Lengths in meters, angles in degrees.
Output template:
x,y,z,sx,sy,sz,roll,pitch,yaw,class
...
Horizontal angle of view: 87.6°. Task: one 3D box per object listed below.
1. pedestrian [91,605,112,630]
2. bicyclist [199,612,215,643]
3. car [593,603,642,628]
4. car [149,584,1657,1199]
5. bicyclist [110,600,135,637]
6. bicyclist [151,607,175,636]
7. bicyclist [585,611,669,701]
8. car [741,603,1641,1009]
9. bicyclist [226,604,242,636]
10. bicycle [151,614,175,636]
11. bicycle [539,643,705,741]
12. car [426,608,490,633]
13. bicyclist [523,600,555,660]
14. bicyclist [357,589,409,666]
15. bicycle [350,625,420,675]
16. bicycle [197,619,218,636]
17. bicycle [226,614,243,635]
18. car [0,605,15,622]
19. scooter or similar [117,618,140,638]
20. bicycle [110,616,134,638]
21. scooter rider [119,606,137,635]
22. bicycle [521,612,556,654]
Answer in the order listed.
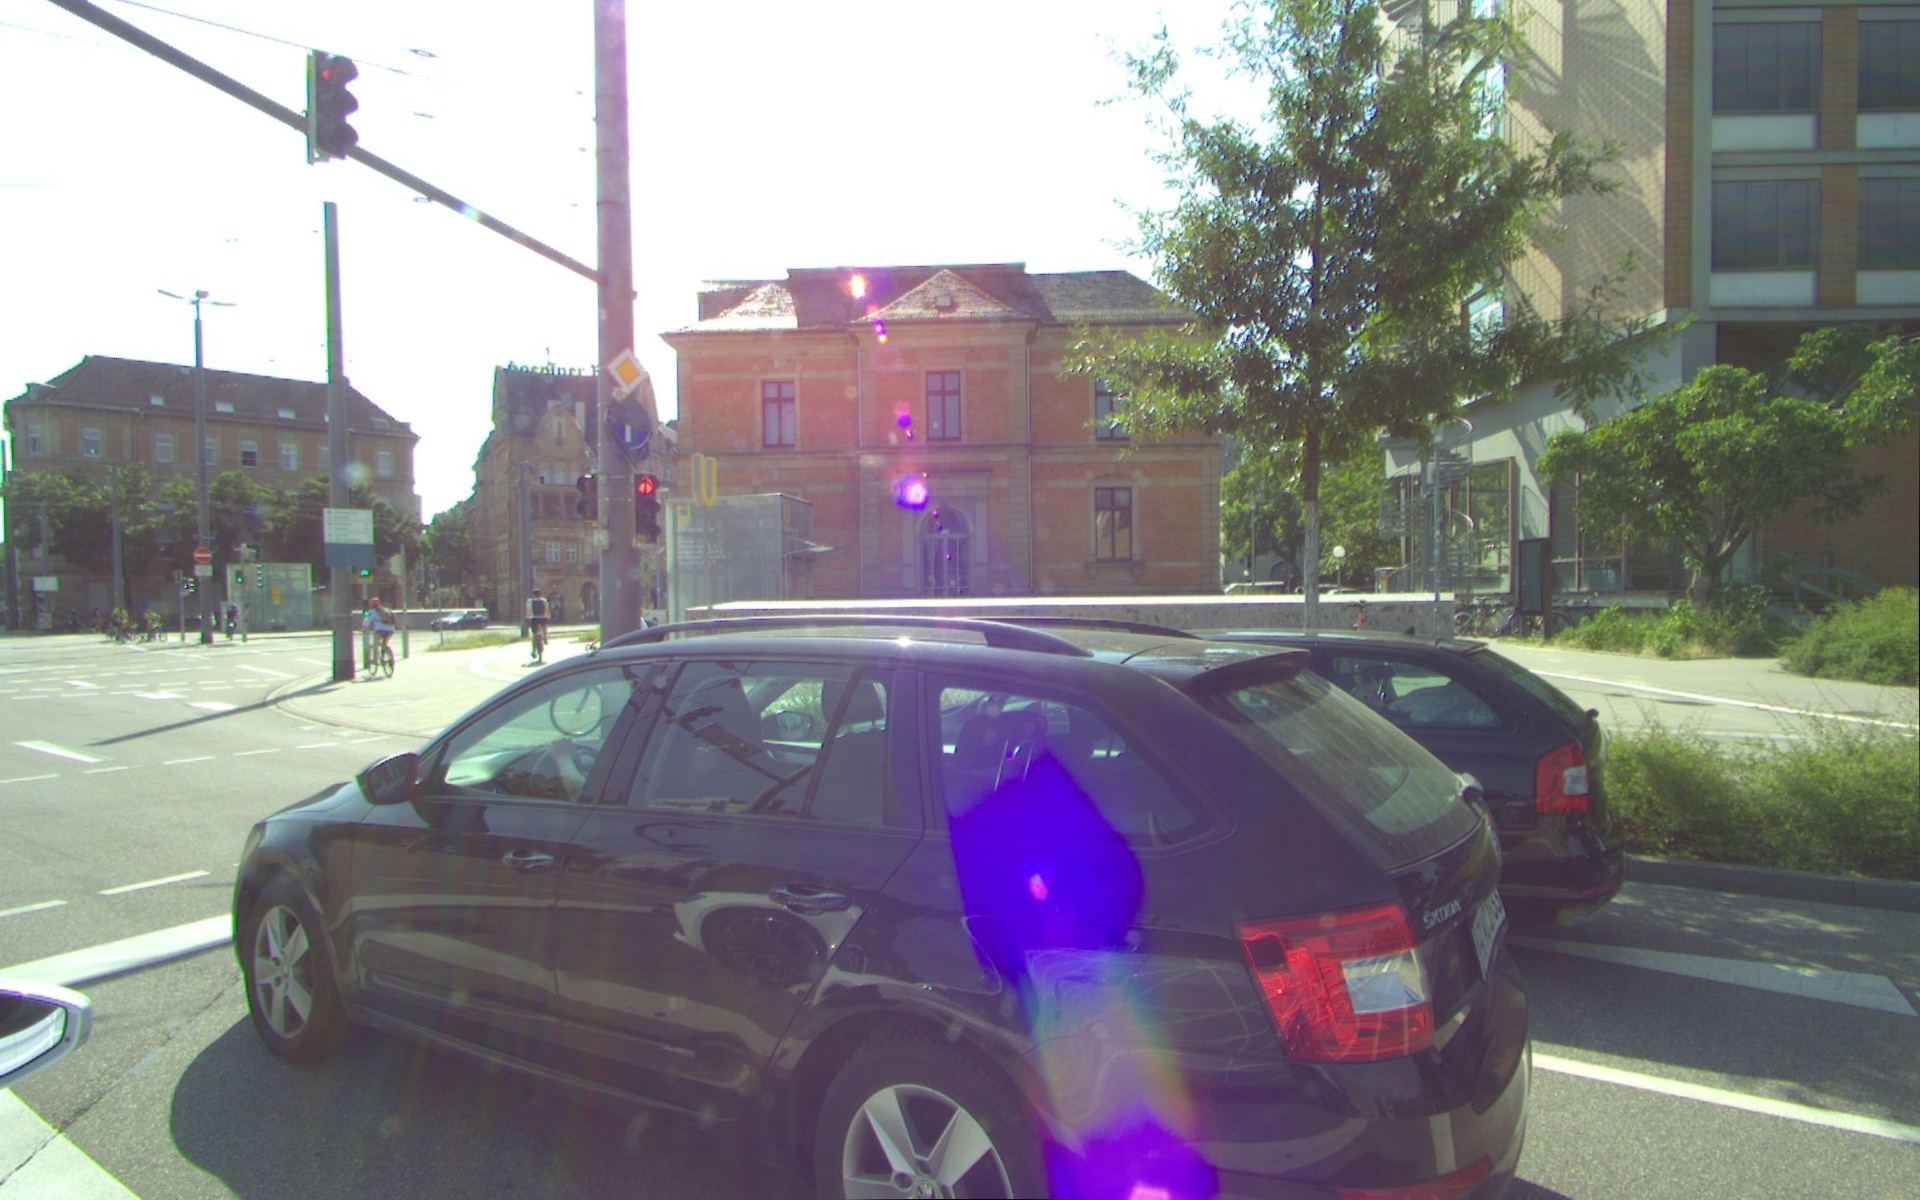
x,y,z,sx,sy,sz,roll,pitch,yaw,class
-50.589,1.057,59.035,0.699,1.451,0.614,0,-1,-5,pedestrian
-40.154,1.447,53.378,0.641,1.642,0.498,0,-1,38,bicyclist
-19.226,0.861,56.349,1.639,1.331,3.452,-1,0,-1,car
-0.656,0.767,3.286,4.710,1.454,1.628,-1,-1,31,car
-42.398,0.969,50.716,0.919,1.843,1.044,1,-2,-39,bicyclist
-40.619,1.098,51.049,0.919,1.470,1.242,1,-1,-38,bicyclist
-4.244,0.686,12.730,0.901,1.043,0.714,-3,2,-24,bicyclist
1.035,0.778,5.524,4.331,1.449,1.697,0,3,29,car
-38.208,1.039,52.704,0.660,1.645,0.777,1,0,-35,bicyclist
-40.641,1.273,51.086,0.919,1.083,2.819,1,-1,-38,bicycle
-4.286,1.136,12.716,1.887,1.029,0.714,-3,2,-24,bicycle
-33.458,1.361,66.851,1.608,1.604,3.997,-1,0,12,car
-10.731,0.772,25.534,0.704,1.507,0.948,0,-1,-21,bicyclist
-13.247,0.614,22.985,0.864,1.692,0.710,0,3,40,bicyclist
-13.232,1.127,23.019,1.997,1.029,0.710,-1,3,41,bicycle
-40.108,1.452,53.350,1.567,0.877,0.498,0,-1,38,bicycle
-38.598,1.316,53.266,0.660,1.083,2.447,1,-1,-35,bicycle
-117.334,1.627,122.782,2.094,2.040,3.962,-1,0,-43,car
-40.625,1.381,48.898,0.978,0.988,0.585,-1,-2,32,scooter or similar
-42.523,1.363,50.838,0.919,1.082,2.724,1,-2,-40,bicycle
-40.621,1.017,48.884,0.401,1.415,0.585,-1,-1,32,scooter rider
-10.719,0.845,25.515,0.704,1.028,2.017,0,-2,-19,bicycle
